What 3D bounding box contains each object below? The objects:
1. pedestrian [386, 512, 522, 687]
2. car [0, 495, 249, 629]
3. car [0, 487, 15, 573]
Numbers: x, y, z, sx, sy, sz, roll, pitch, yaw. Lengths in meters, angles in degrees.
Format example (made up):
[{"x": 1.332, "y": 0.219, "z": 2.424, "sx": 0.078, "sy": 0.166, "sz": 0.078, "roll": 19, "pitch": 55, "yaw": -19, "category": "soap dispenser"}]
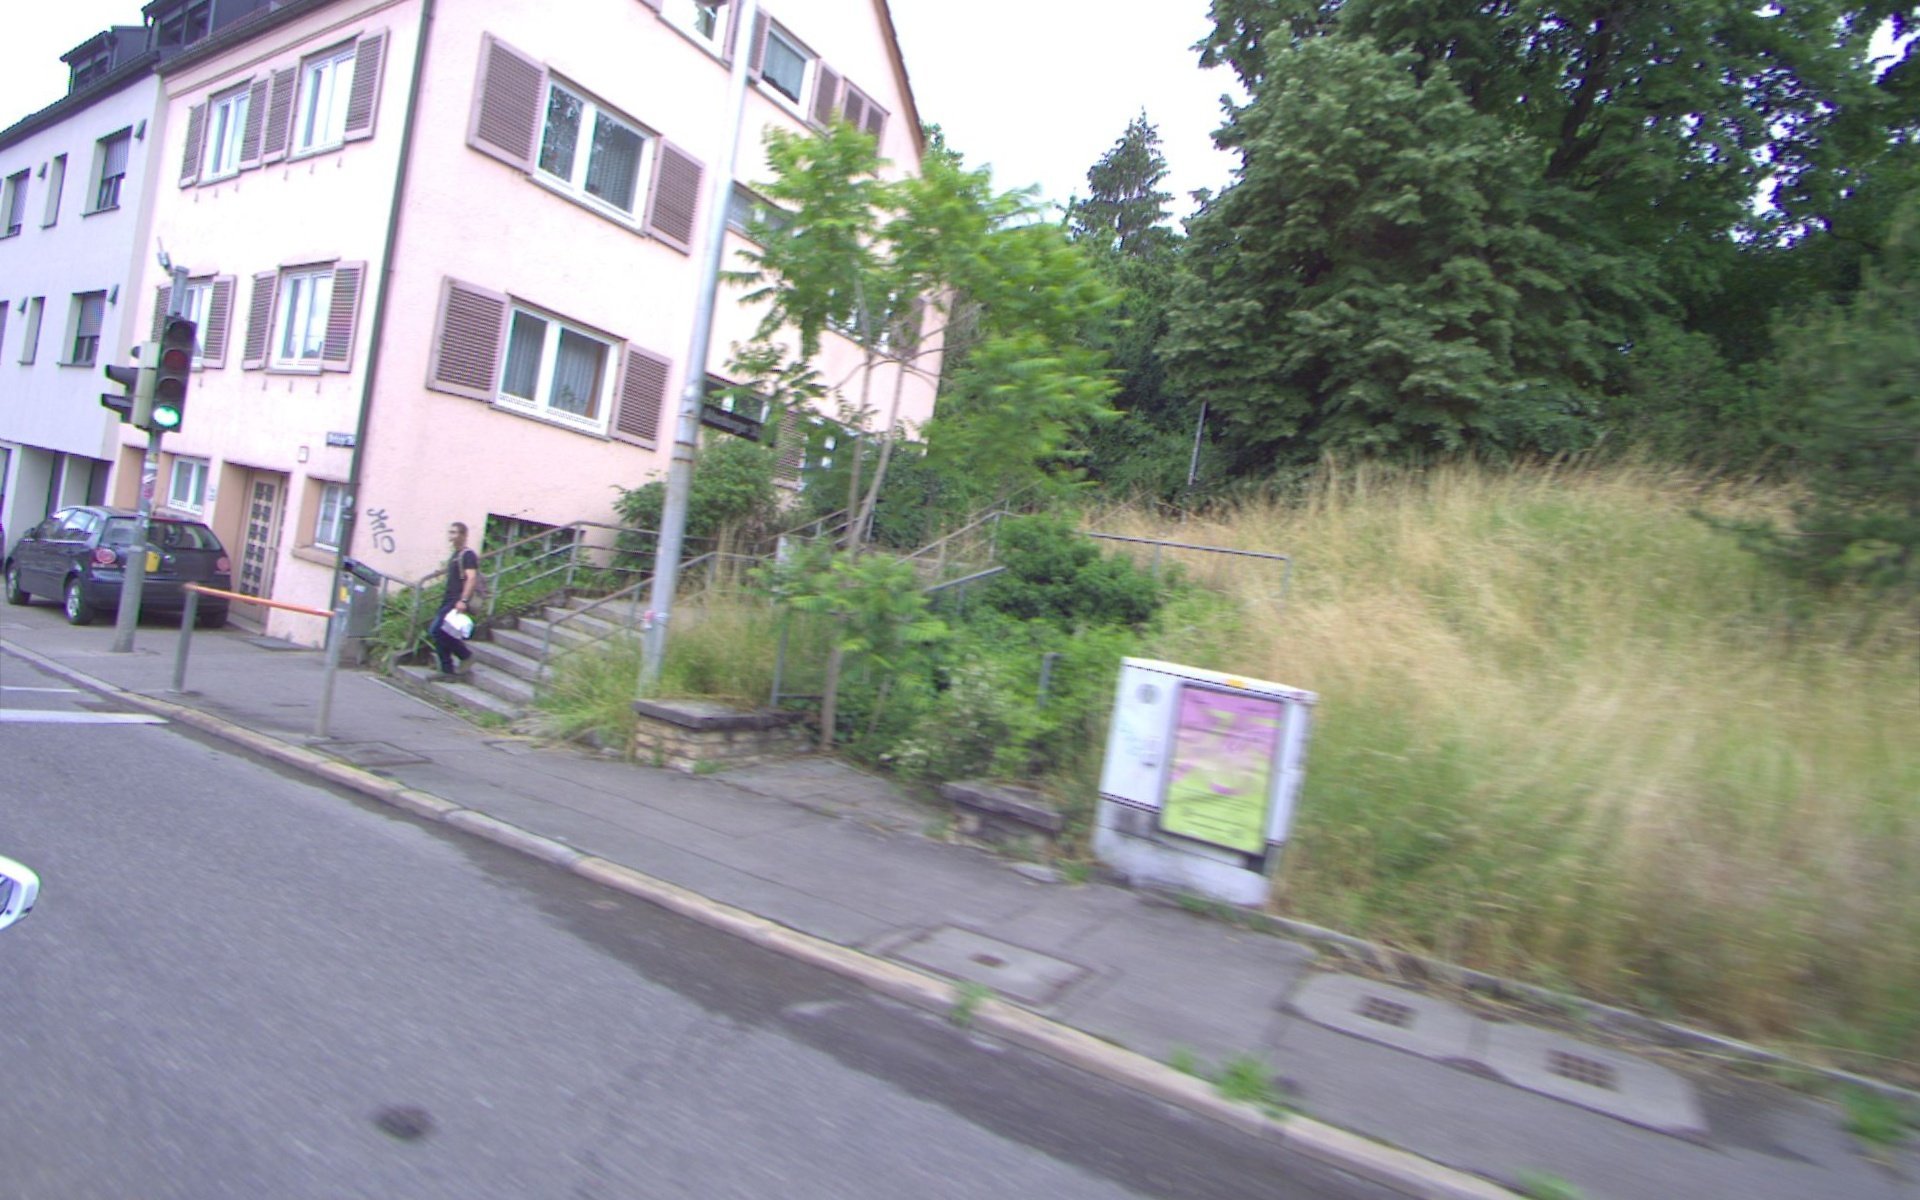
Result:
[{"x": -5.395, "y": -0.007, "z": 10.743, "sx": 0.858, "sy": 1.719, "sz": 0.887, "roll": 8, "pitch": 4, "yaw": 32, "category": "pedestrian"}, {"x": -11.596, "y": -0.550, "z": 13.752, "sx": 3.935, "sy": 1.470, "sz": 1.681, "roll": 6, "pitch": 2, "yaw": 33, "category": "car"}, {"x": -18.978, "y": -1.496, "z": 18.273, "sx": 4.644, "sy": 1.470, "sz": 1.793, "roll": 8, "pitch": 2, "yaw": 36, "category": "car"}]
